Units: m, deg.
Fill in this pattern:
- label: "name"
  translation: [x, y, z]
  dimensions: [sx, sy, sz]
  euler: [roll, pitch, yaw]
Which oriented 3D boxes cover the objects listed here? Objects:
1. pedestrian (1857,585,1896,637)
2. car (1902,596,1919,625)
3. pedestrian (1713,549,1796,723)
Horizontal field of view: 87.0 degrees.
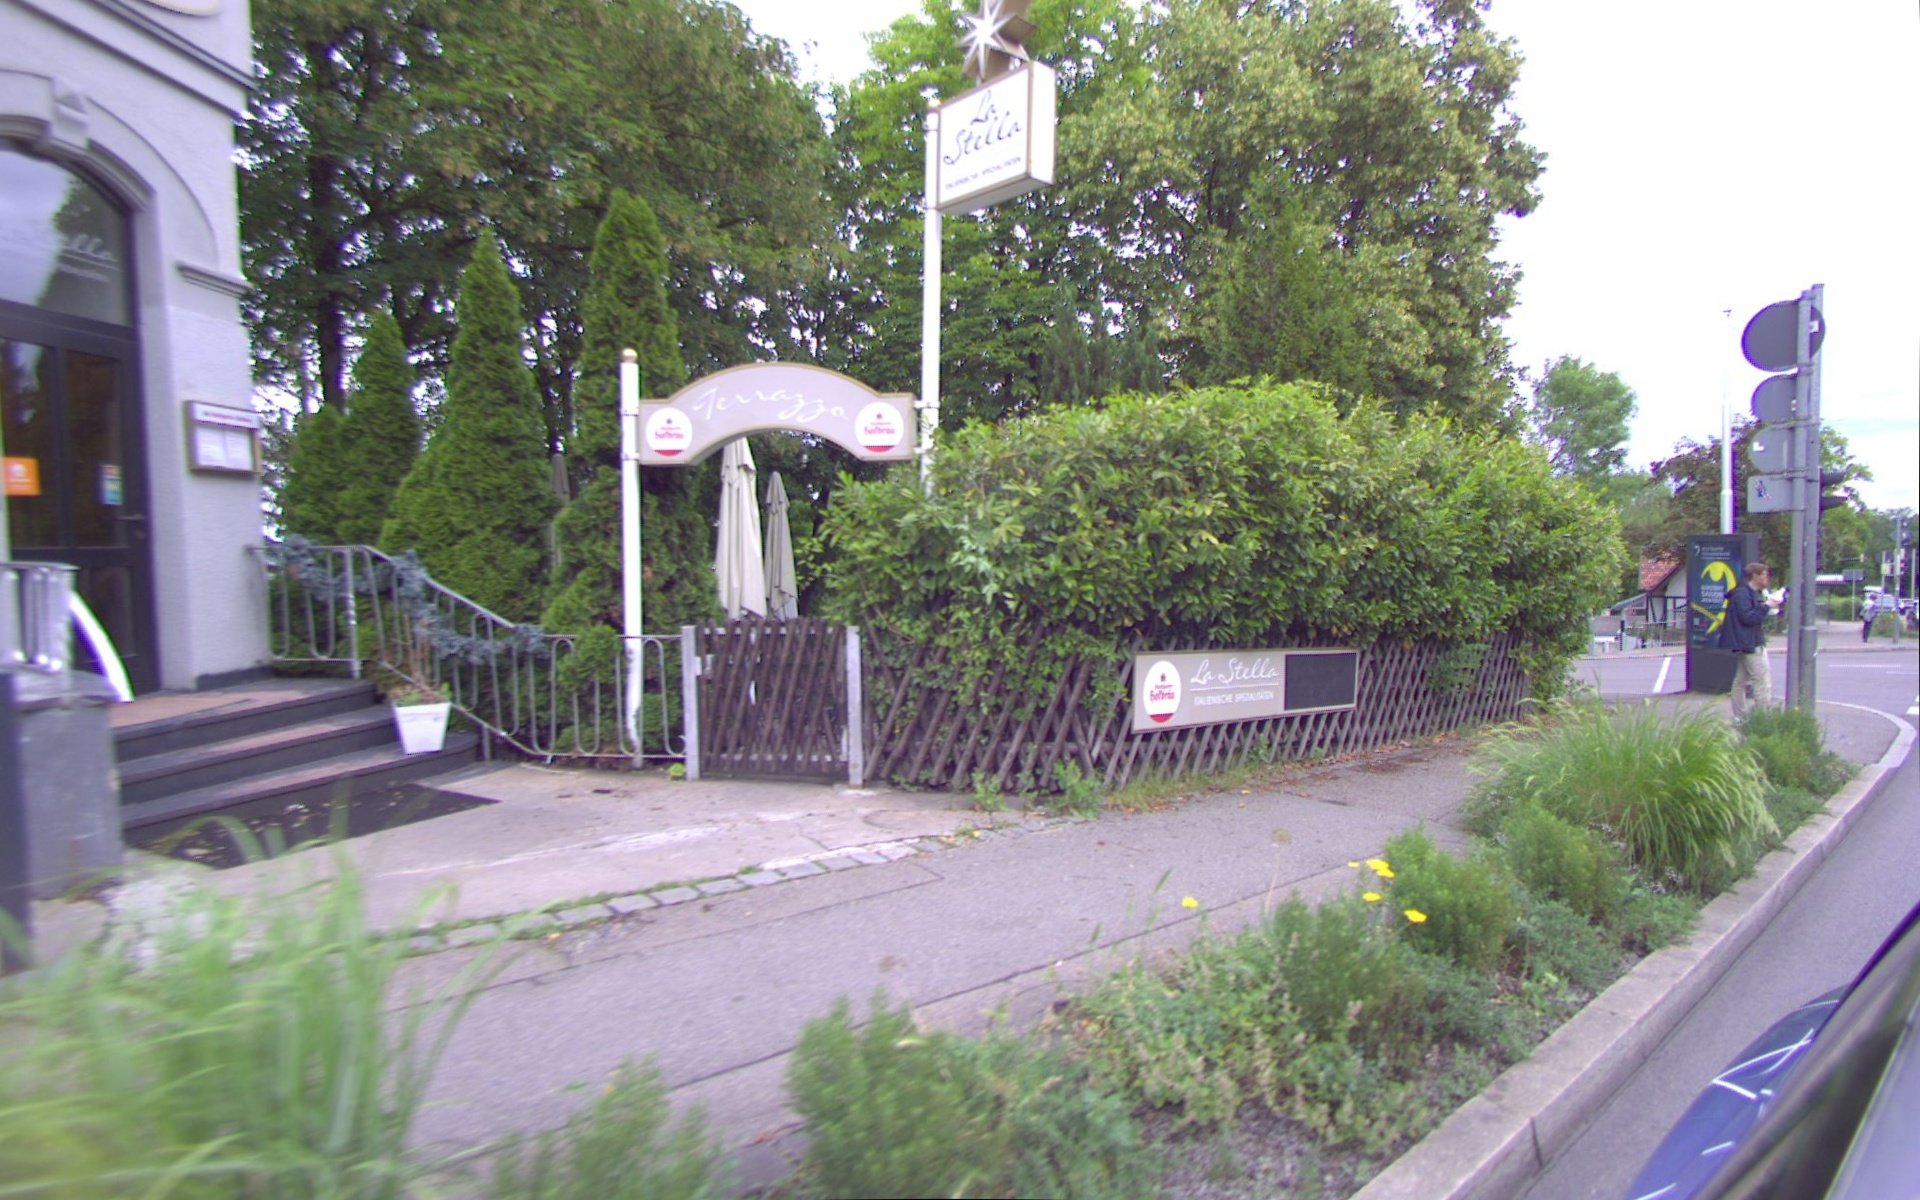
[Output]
- label: "pedestrian"
  translation: [30.932, 0.363, 34.173]
  dimensions: [0.608, 1.709, 0.695]
  euler: [1, 2, 1]
- label: "car"
  translation: [47.554, 0.511, 49.457]
  dimensions: [1.799, 1.411, 4.226]
  euler: [1, 1, 38]
- label: "pedestrian"
  translation: [8.879, 0.384, 11.308]
  dimensions: [0.692, 1.857, 0.611]
  euler: [-1, -1, 40]
